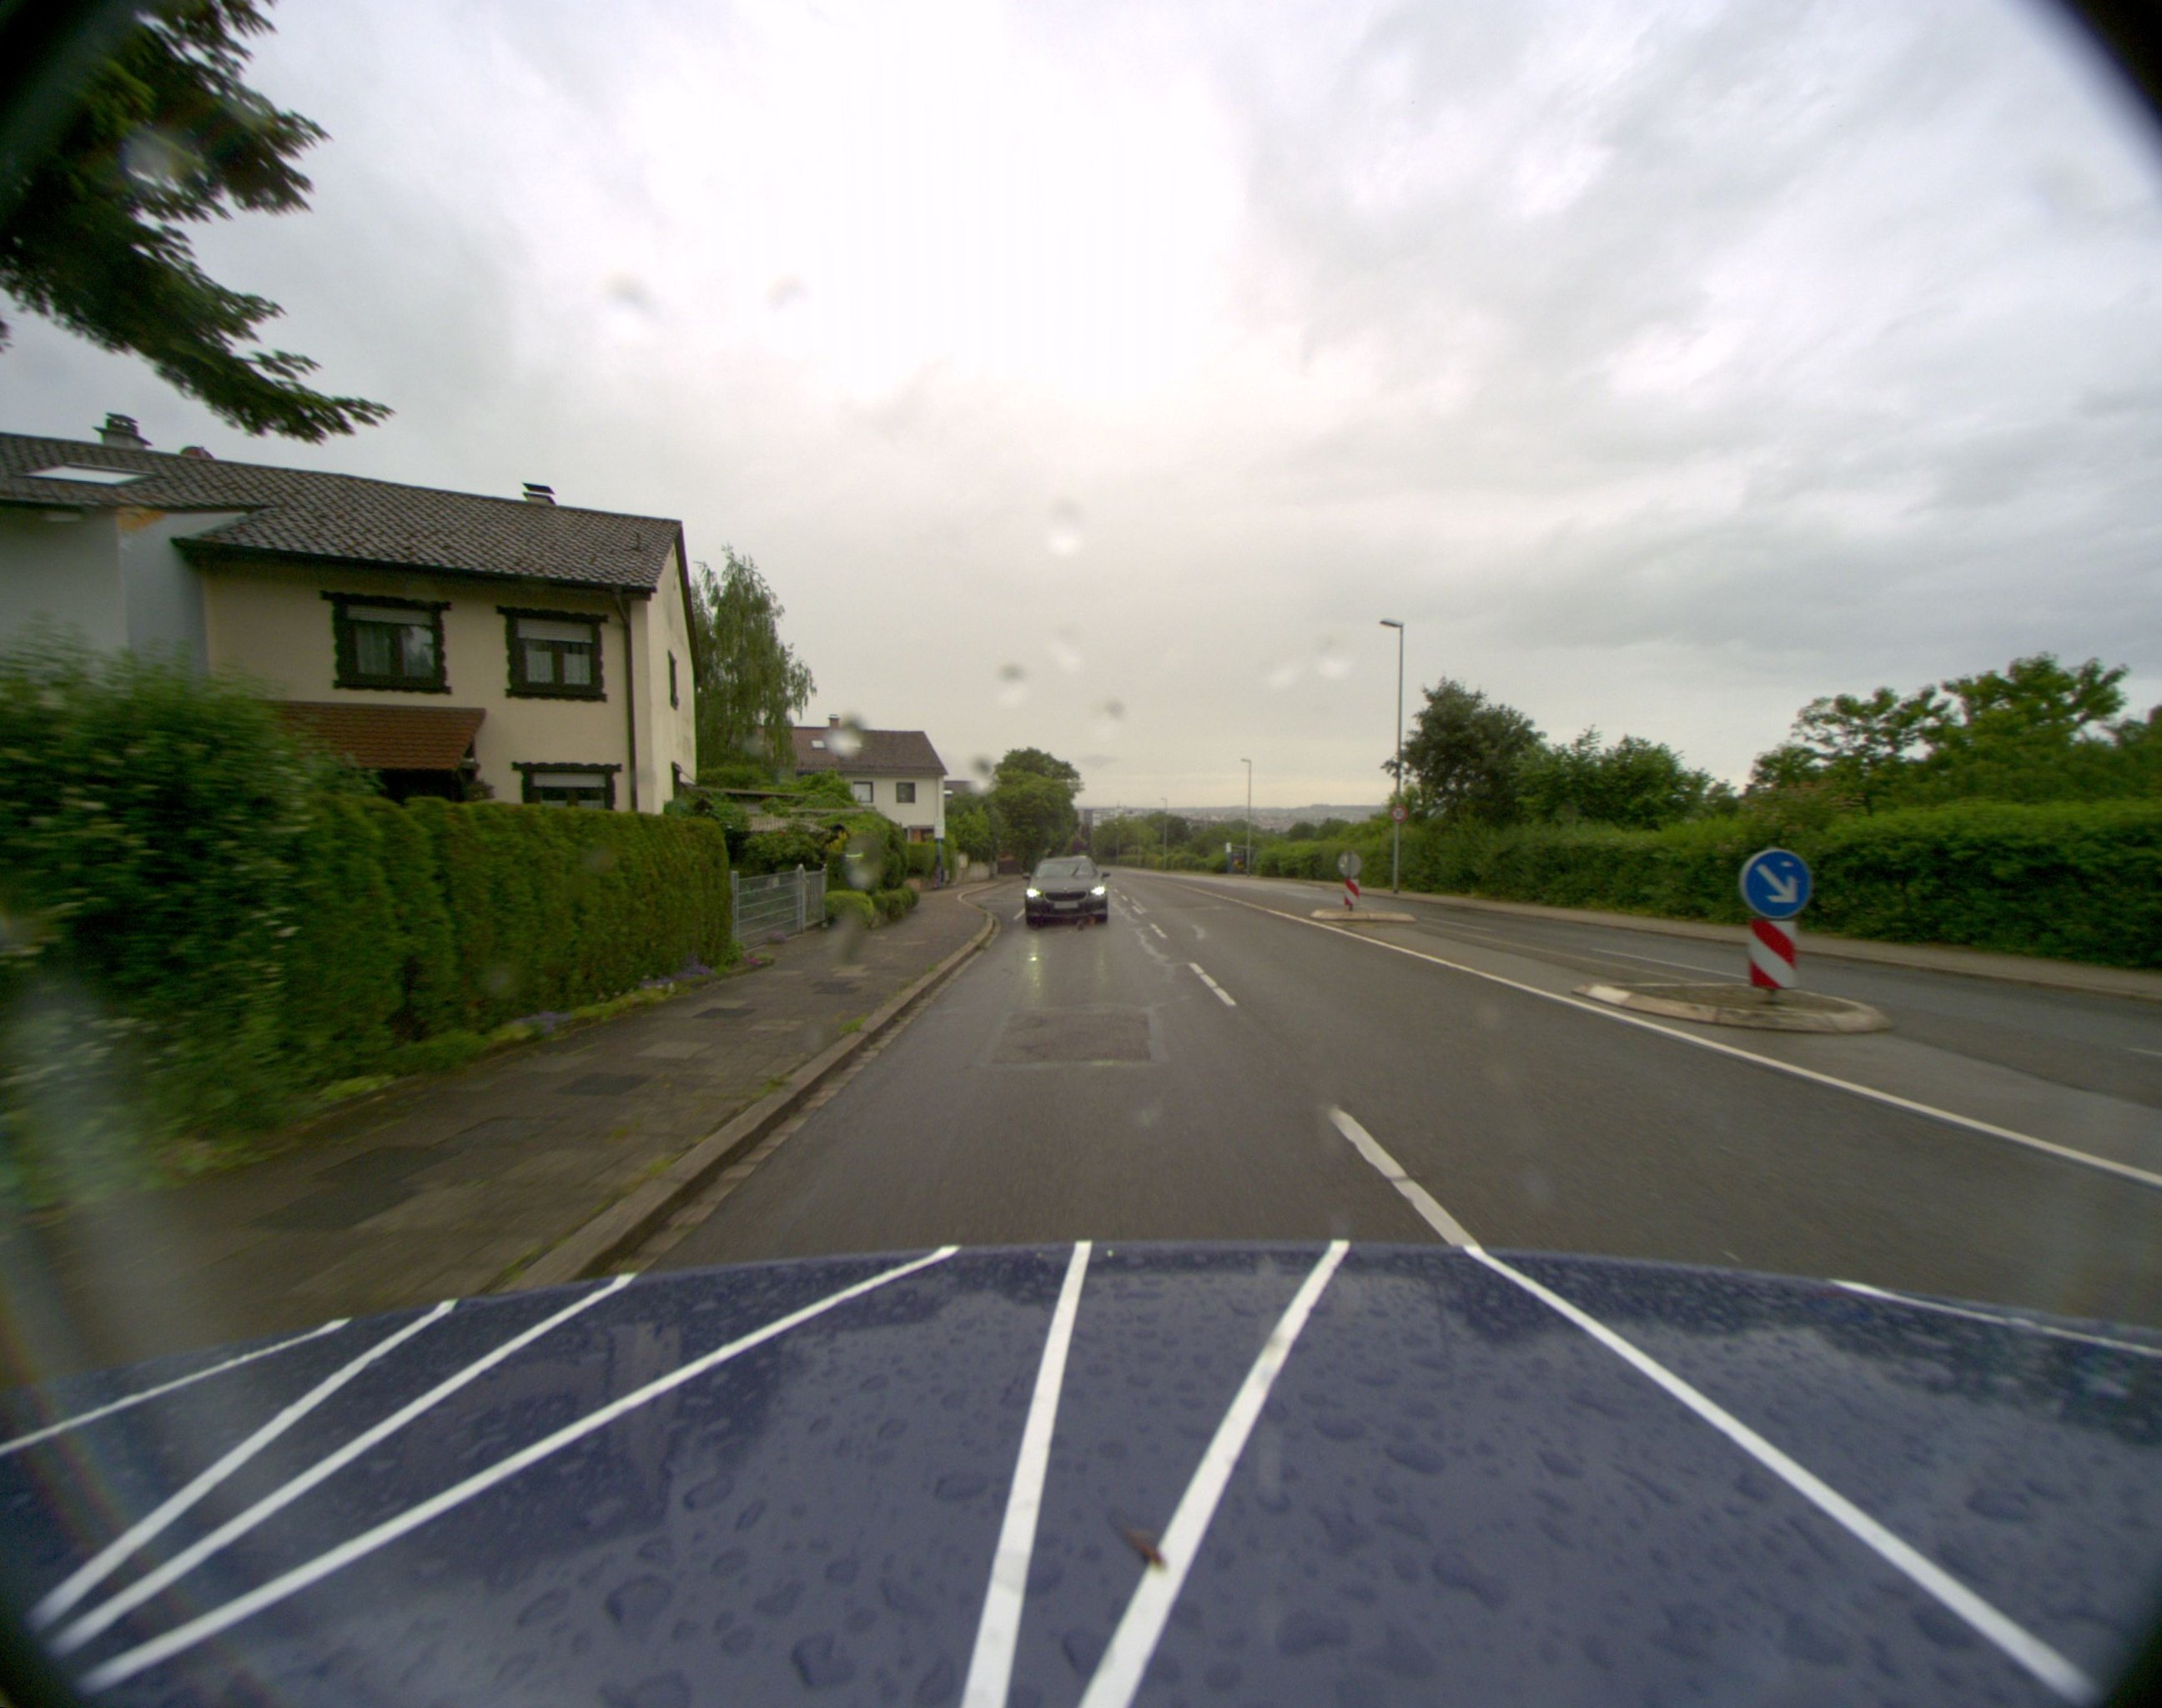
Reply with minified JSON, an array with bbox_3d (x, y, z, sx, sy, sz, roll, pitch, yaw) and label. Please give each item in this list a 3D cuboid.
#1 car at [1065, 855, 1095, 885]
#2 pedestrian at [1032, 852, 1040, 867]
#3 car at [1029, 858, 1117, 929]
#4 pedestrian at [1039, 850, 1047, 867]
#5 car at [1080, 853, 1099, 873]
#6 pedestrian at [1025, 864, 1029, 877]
[{"bbox_3d":[-0.048,0.830,41.221,1.551,1.505,4.283,0,0,0],"label":"car"},{"bbox_3d":[-4.059,0.507,69.171,0.603,1.347,0.646,0,0,8],"label":"pedestrian"},{"bbox_3d":[-0.314,0.873,18.695,1.846,1.371,4.281,-3,1,-4],"label":"car"},{"bbox_3d":[-3.425,0.396,69.088,0.611,1.584,0.646,0,0,8],"label":"pedestrian"},{"bbox_3d":[0.754,0.792,68.369,1.703,1.670,4.283,0,0,0],"label":"car"},{"bbox_3d":[-4.878,1.471,68.633,0.368,1.140,0.366,0,0,8],"label":"pedestrian"}]
